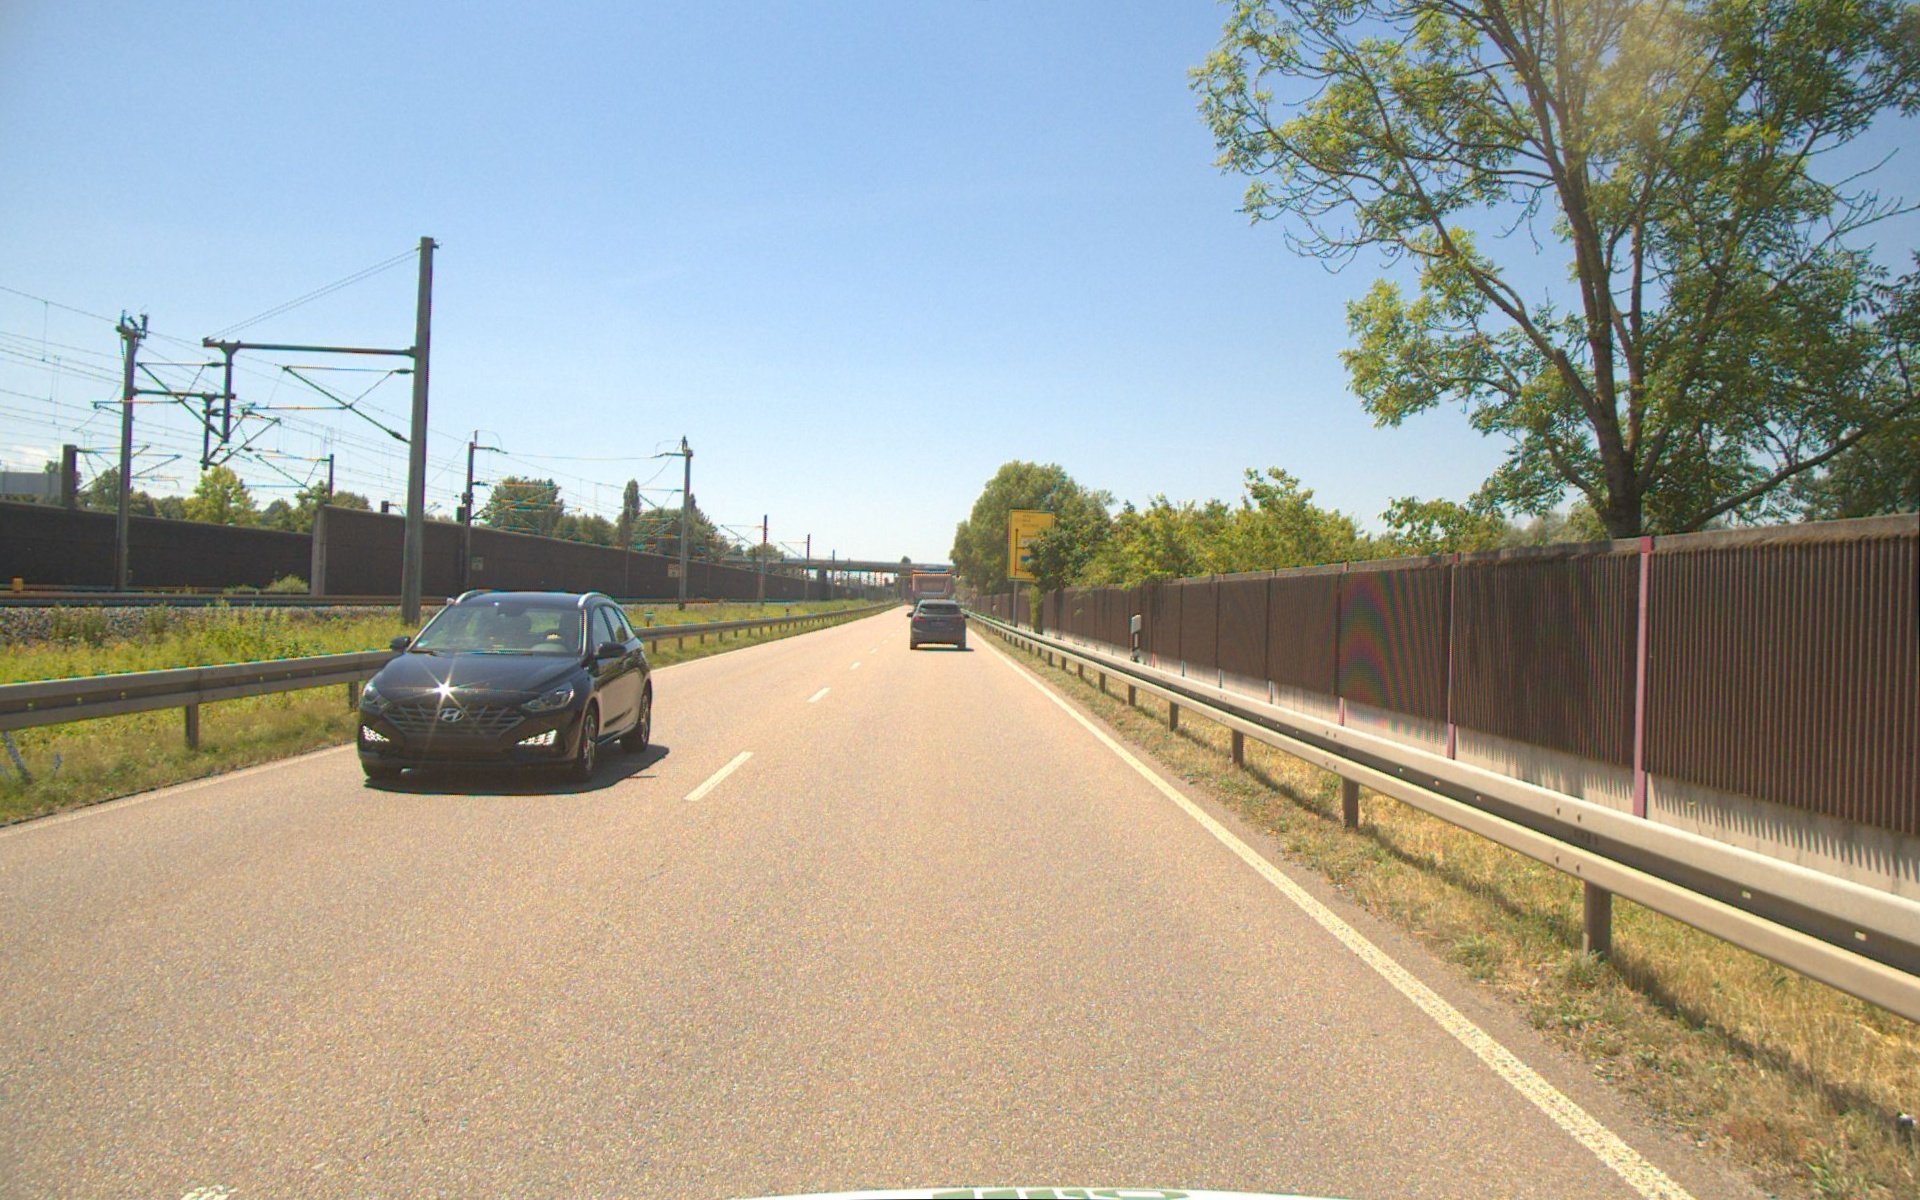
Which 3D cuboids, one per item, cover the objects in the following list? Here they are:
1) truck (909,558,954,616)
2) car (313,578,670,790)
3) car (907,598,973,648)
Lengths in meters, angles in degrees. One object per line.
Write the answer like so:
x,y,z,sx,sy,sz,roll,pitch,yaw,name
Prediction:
-1.788,-0.794,105.437,2.714,3.485,10.817,1,0,-1,truck
-3.833,0.623,14.336,1.935,1.534,4.162,1,0,-1,car
-0.686,0.701,53.172,1.954,1.534,3.998,0,0,-3,car
